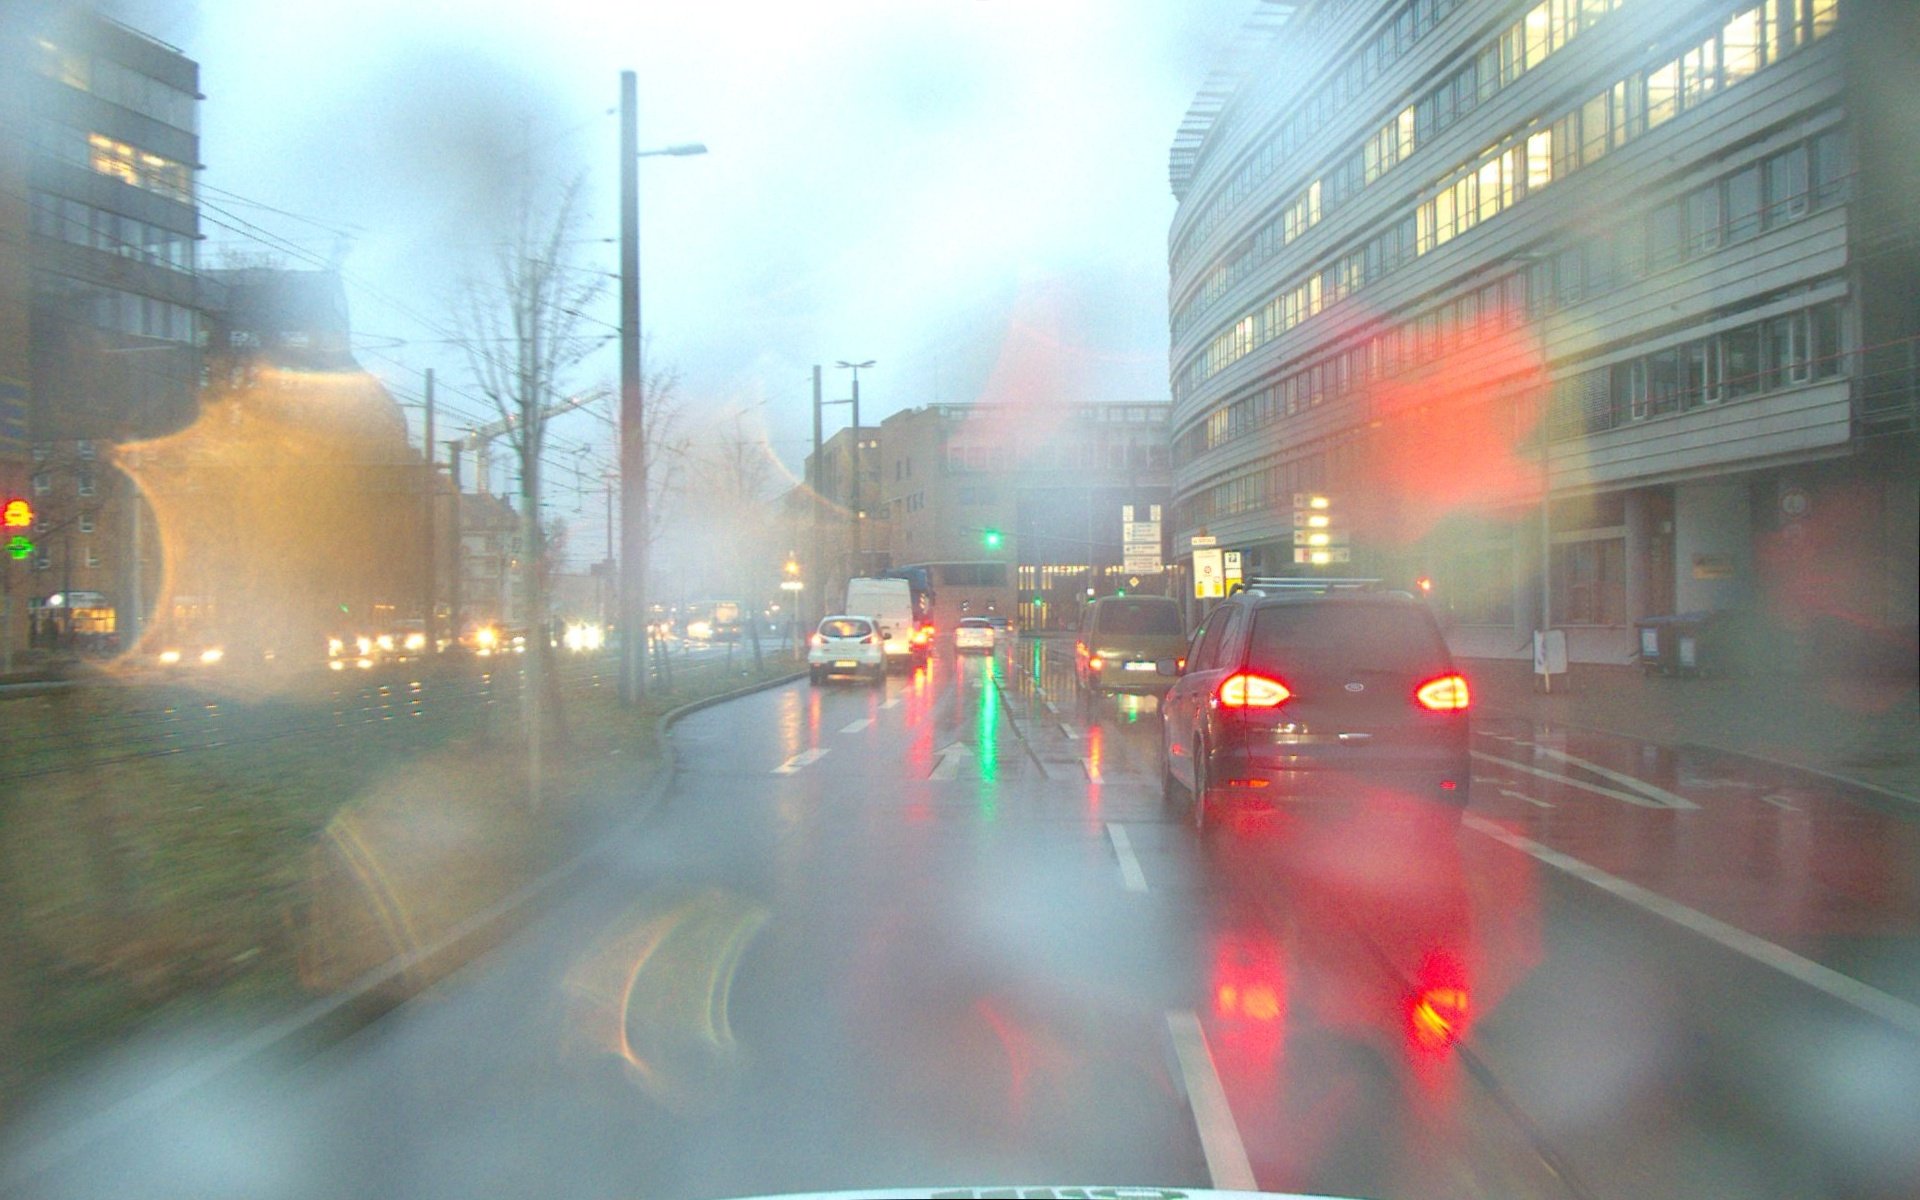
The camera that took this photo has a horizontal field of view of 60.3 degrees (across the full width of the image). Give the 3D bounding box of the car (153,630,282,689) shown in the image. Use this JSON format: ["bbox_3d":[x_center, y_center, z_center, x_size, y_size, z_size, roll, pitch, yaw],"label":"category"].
[{"bbox_3d":[-19.962,1.572,44.639,1.778,1.467,3.955,-1,-1,-1],"label":"car"}]

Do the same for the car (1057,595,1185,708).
[{"bbox_3d":[2.792,0.872,29.548,1.806,1.838,4.486,0,-1,0],"label":"car"}]

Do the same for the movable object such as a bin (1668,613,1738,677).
[{"bbox_3d":[16.030,0.956,35.700,0.828,1.316,1.166,-2,-1,-10],"label":"movable object such as a bin"}]

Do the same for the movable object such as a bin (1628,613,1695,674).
[{"bbox_3d":[15.705,0.972,37.054,0.828,1.316,1.166,-2,-1,-10],"label":"movable object such as a bin"}]

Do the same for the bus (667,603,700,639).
[{"bbox_3d":[-27.135,2.069,162.055,2.774,3.432,7.974,0,-1,-12],"label":"bus"}]

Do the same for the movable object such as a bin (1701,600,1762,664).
[{"bbox_3d":[17.586,0.717,37.732,0.715,1.407,1.077,-2,-1,-10],"label":"movable object such as a bin"}]

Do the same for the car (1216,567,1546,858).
[{"bbox_3d":[2.970,0.730,12.459,1.639,1.811,4.001,1,-1,3],"label":"car"}]

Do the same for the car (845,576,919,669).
[{"bbox_3d":[-2.298,0.632,47.437,1.954,2.470,5.969,-1,-1,-4],"label":"car"}]

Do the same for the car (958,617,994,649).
[{"bbox_3d":[0.697,1.406,70.594,1.480,1.328,3.041,-1,-1,1],"label":"car"}]

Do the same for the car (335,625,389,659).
[{"bbox_3d":[-26.013,1.810,72.011,1.478,1.426,3.543,0,-1,-7],"label":"car"}]

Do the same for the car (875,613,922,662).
[{"bbox_3d":[-2.046,1.228,54.230,1.488,1.547,3.468,0,-2,-3],"label":"car"}]

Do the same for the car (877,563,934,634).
[{"bbox_3d":[-2.376,-0.006,71.041,2.308,2.876,6.355,0,-1,-2],"label":"car"}]

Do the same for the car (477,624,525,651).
[{"bbox_3d":[-25.495,2.075,91.975,1.956,1.475,4.307,0,-1,-7],"label":"car"}]

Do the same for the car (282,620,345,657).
[{"bbox_3d":[-31.256,1.855,80.037,1.599,1.721,3.621,0,-1,0],"label":"car"}]

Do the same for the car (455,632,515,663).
[{"bbox_3d":[-22.907,2.273,79.892,1.693,1.417,4.199,-1,-1,0],"label":"car"}]

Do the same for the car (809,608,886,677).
[{"bbox_3d":[-2.606,0.961,38.999,1.605,1.522,3.684,-1,0,-1],"label":"car"}]

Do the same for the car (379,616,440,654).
[{"bbox_3d":[-20.713,1.327,62.349,1.477,1.397,3.646,0,-2,-7],"label":"car"}]
